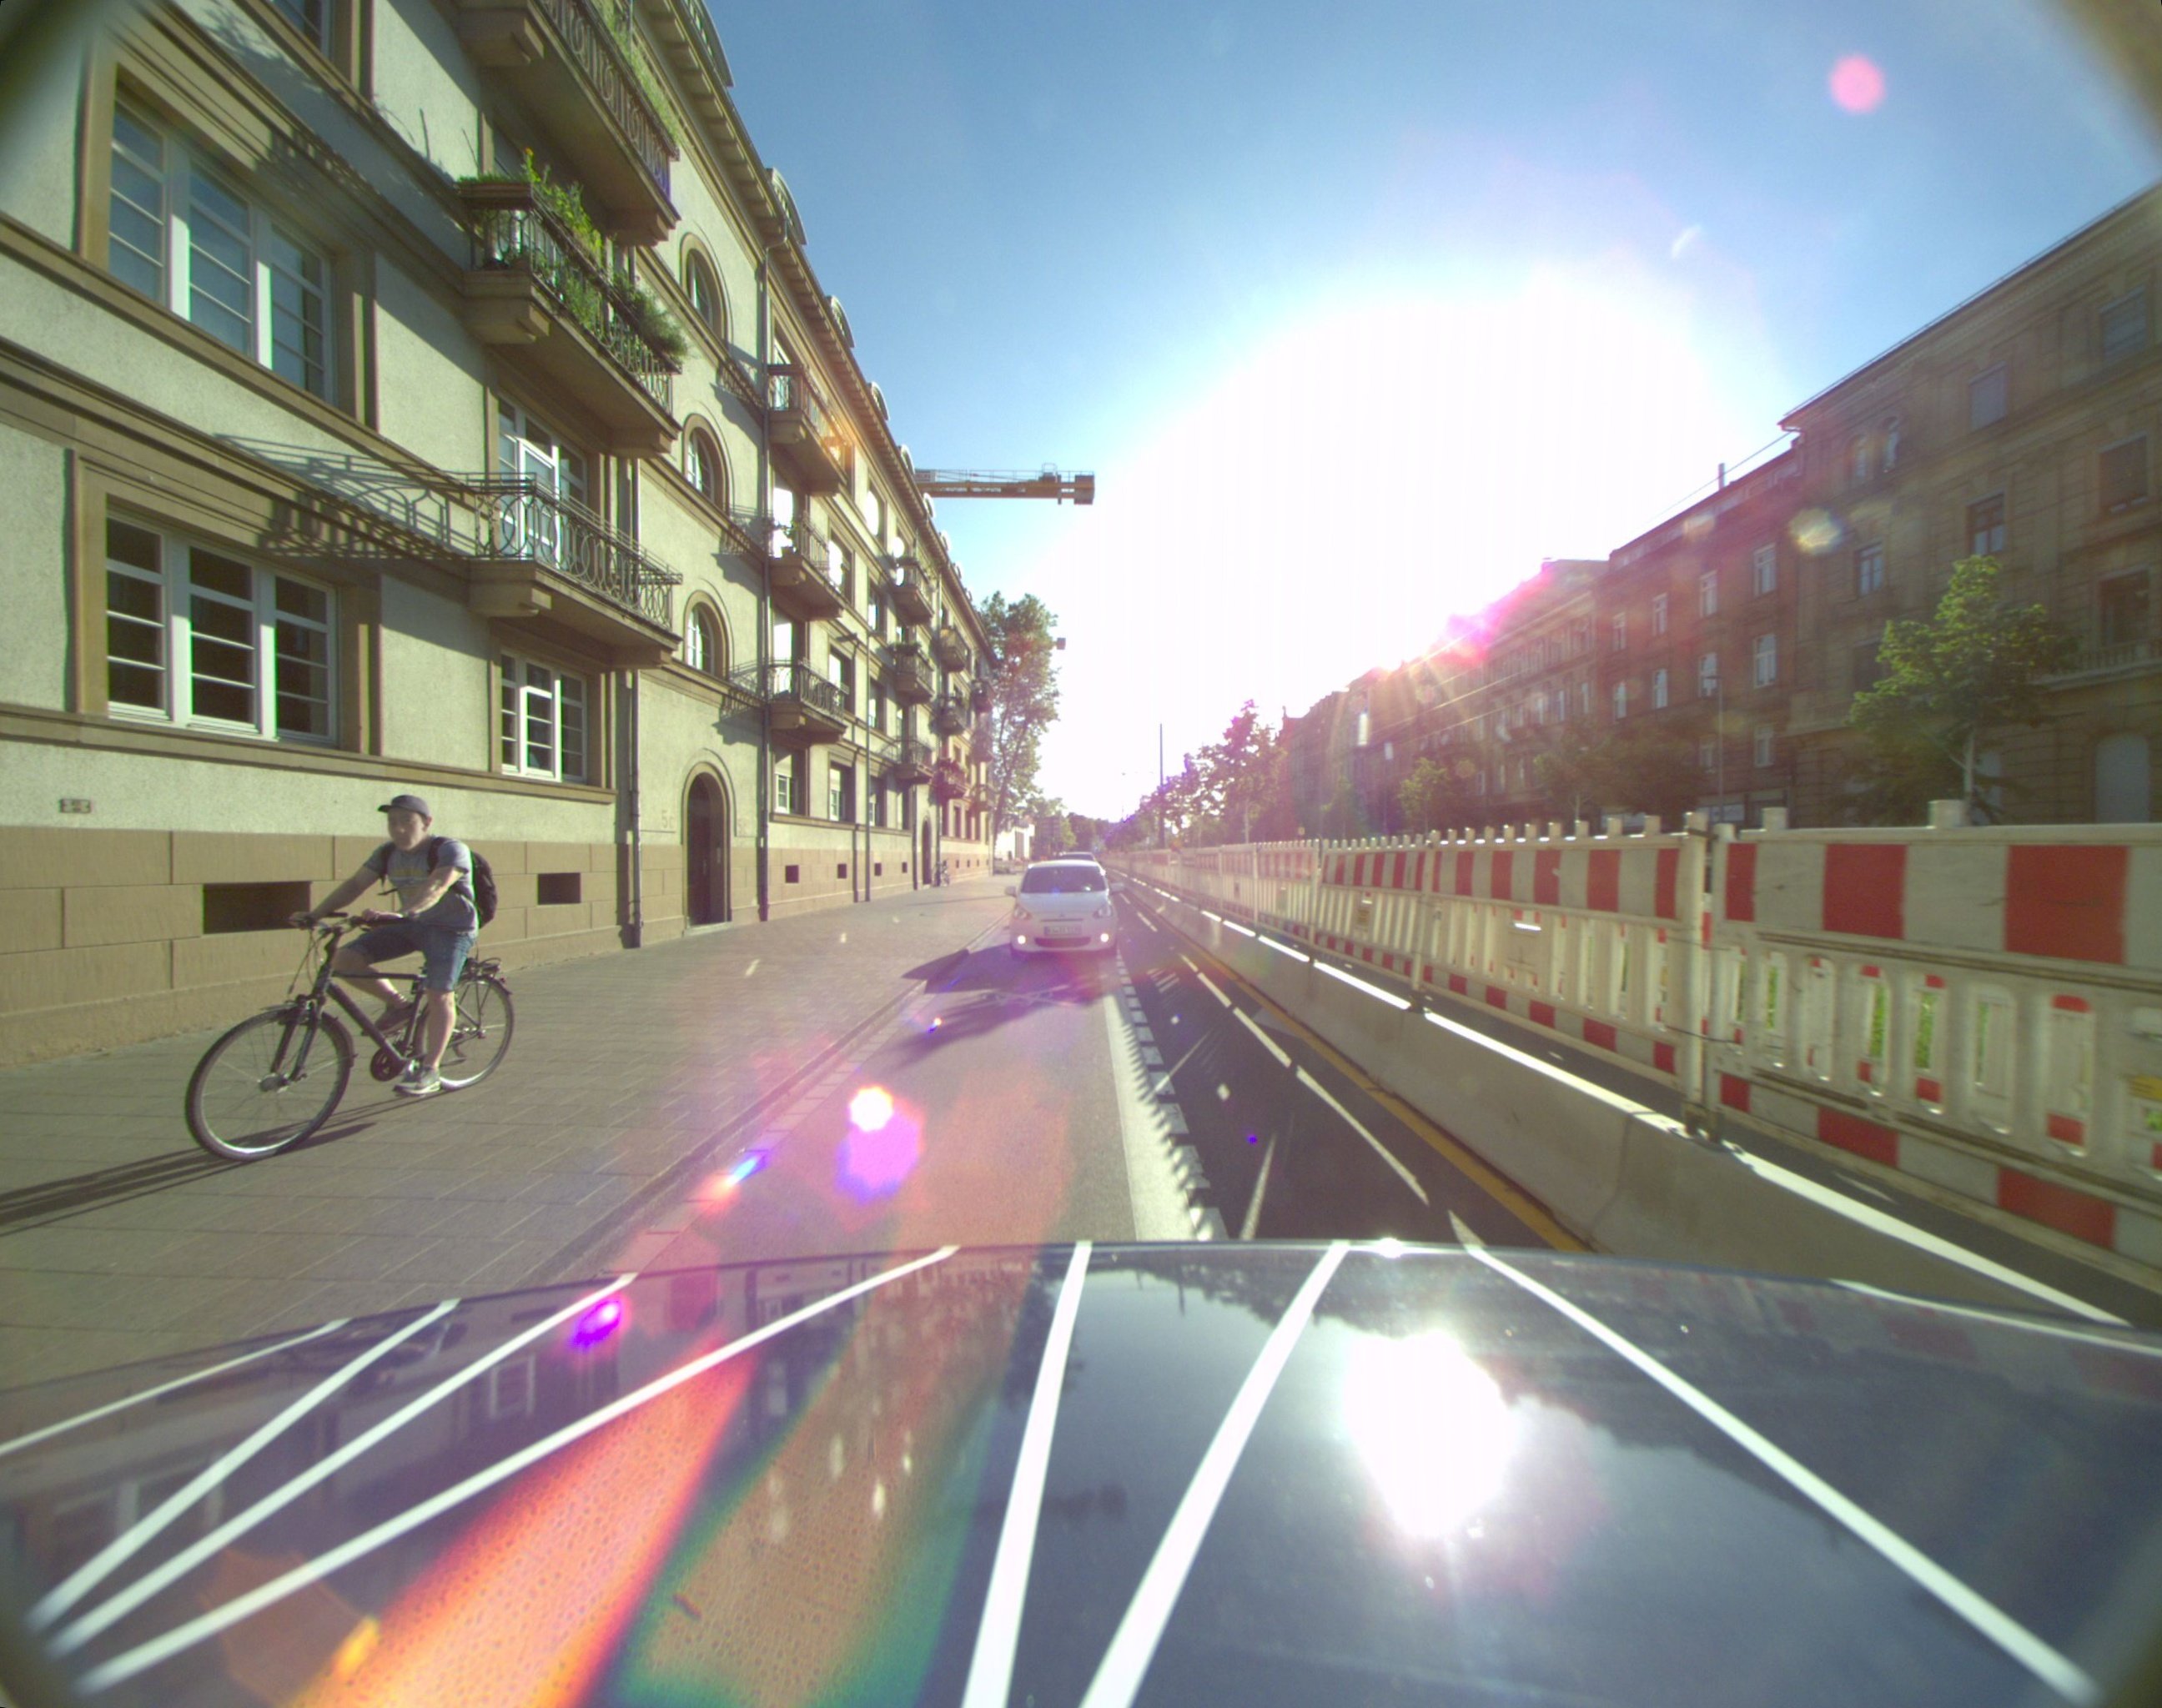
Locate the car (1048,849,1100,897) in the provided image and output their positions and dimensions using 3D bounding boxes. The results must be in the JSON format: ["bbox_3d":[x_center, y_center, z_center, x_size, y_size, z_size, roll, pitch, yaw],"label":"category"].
[{"bbox_3d":[-0.277,0.721,31.100,1.900,1.730,4.000,-3,0,0],"label":"car"}]

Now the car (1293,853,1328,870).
[{"bbox_3d":[22.953,0.737,76.176,1.998,1.529,4.984,-2,0,1],"label":"car"}]

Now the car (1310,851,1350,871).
[{"bbox_3d":[22.818,0.650,69.900,1.999,1.688,4.887,-2,0,0],"label":"car"}]

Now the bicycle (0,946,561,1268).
[{"bbox_3d":[-3.865,1.093,3.977,0.769,0.947,2.198,0,0,0],"label":"bicycle"}]

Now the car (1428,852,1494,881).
[{"bbox_3d":[23.569,0.712,47.363,1.943,1.648,4.545,-2,0,2],"label":"car"}]

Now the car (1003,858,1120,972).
[{"bbox_3d":[-0.258,0.900,13.172,1.634,1.500,4.349,-2,1,1],"label":"car"}]

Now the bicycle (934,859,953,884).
[{"bbox_3d":[-6.267,0.780,34.724,0.419,1.089,2.198,0,0,1],"label":"bicycle"}]

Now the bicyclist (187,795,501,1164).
[{"bbox_3d":[-3.847,0.597,4.069,0.734,1.753,0.937,0,1,0],"label":"bicyclist"}]

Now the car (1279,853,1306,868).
[{"bbox_3d":[23.045,0.710,82.861,1.753,1.470,4.028,-2,0,1],"label":"car"}]
